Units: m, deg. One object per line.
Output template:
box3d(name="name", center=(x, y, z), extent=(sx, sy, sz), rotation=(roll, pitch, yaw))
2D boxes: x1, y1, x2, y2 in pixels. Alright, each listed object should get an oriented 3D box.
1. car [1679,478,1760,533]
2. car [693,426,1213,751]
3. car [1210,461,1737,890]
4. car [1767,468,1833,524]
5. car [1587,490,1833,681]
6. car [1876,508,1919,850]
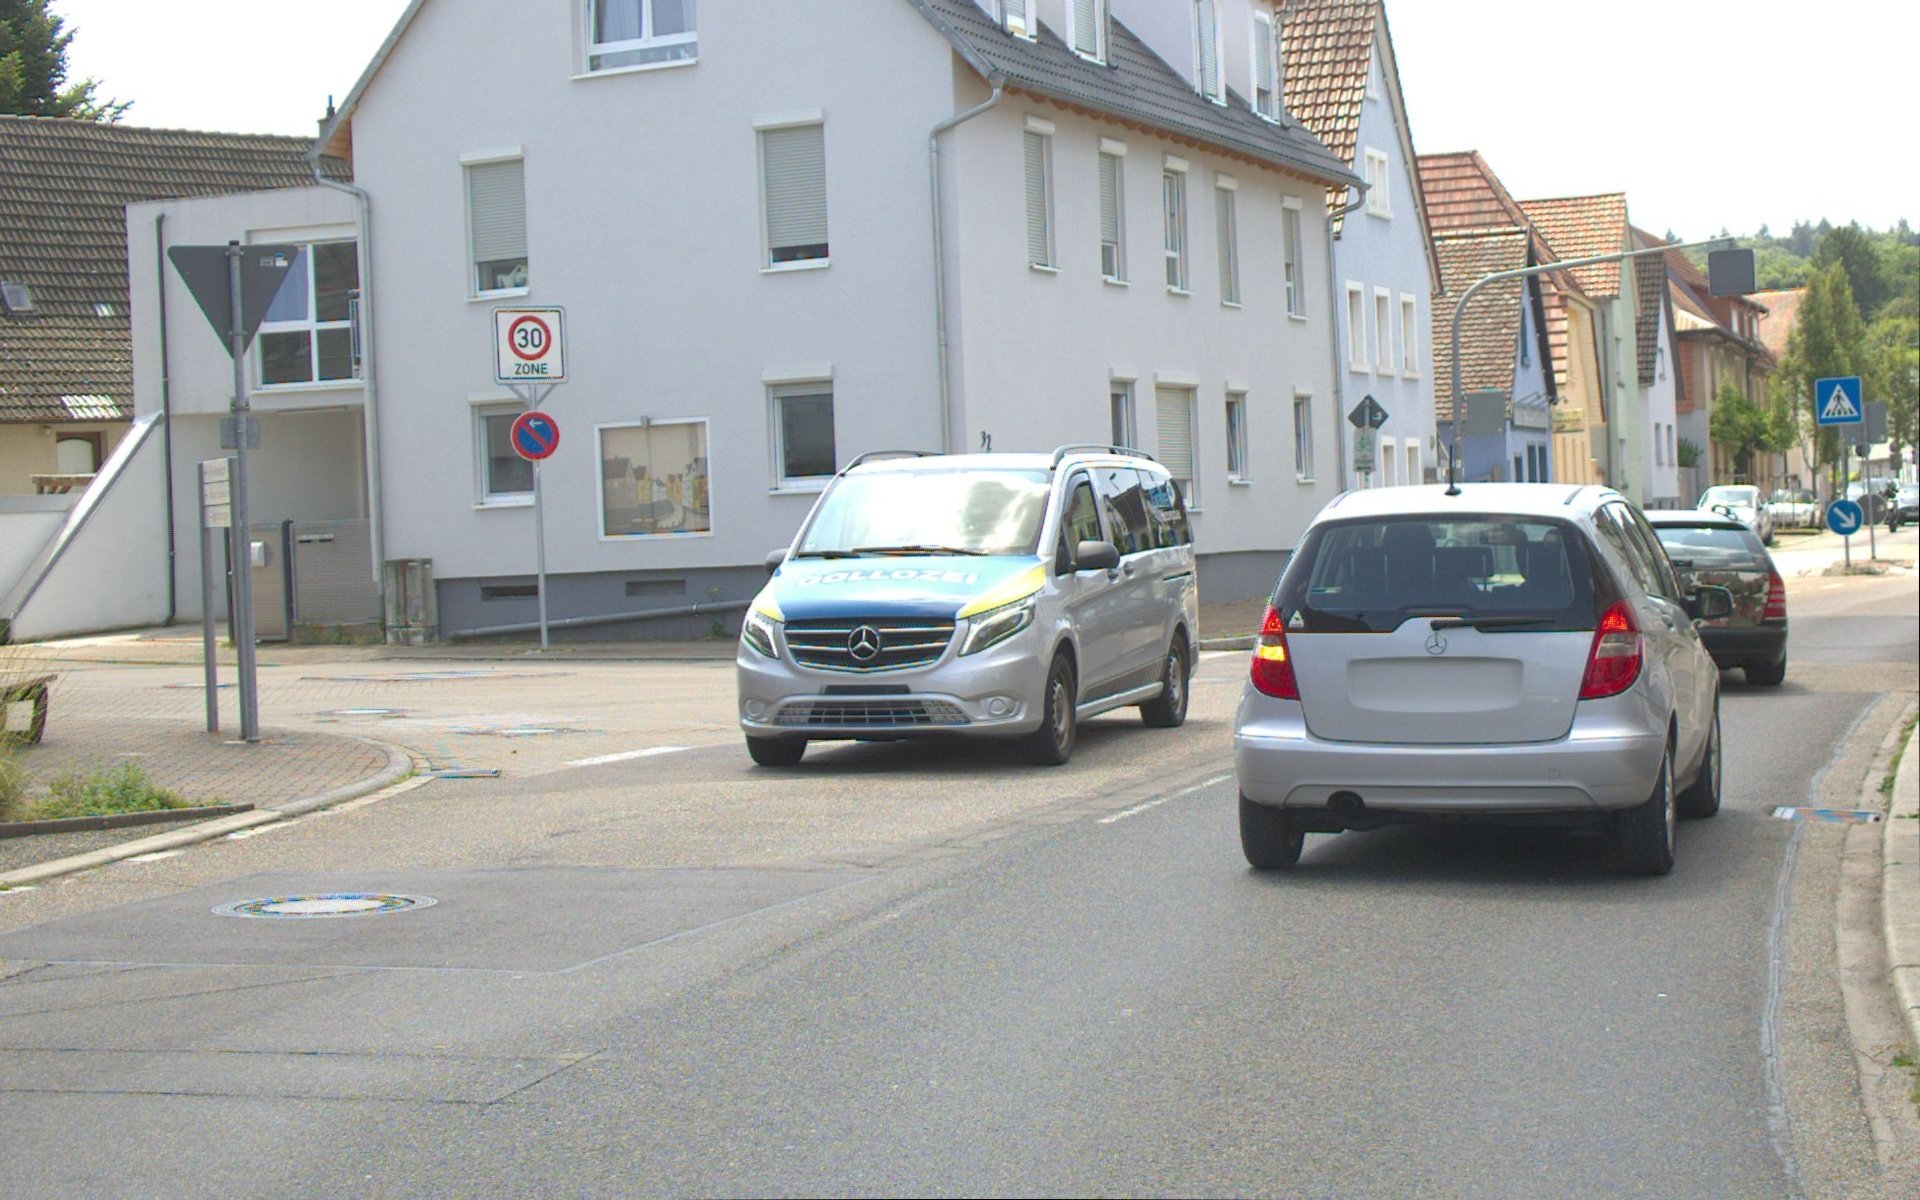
box3d(name="car", center=(19.792, -2.442, 89.548), extent=(1.995, 1.316, 3.706), rotation=(-1, 0, 13))
box3d(name="car", center=(0.115, -0.062, 21.724), extent=(1.995, 1.793, 4.932), rotation=(-1, 0, 16))
box3d(name="car", center=(2.381, 0.237, 15.158), extent=(1.812, 1.638, 3.726), rotation=(0, 2, 16))
box3d(name="car", center=(26.083, -3.205, 106.664), extent=(1.668, 1.590, 3.996), rotation=(-1, 0, 18))
box3d(name="car", center=(6.005, -0.108, 27.871), extent=(1.750, 1.411, 3.998), rotation=(-1, 0, 10))
box3d(name="car", center=(4.558, 0.277, 12.815), extent=(1.771, 1.395, 4.422), rotation=(-4, -1, 10))
